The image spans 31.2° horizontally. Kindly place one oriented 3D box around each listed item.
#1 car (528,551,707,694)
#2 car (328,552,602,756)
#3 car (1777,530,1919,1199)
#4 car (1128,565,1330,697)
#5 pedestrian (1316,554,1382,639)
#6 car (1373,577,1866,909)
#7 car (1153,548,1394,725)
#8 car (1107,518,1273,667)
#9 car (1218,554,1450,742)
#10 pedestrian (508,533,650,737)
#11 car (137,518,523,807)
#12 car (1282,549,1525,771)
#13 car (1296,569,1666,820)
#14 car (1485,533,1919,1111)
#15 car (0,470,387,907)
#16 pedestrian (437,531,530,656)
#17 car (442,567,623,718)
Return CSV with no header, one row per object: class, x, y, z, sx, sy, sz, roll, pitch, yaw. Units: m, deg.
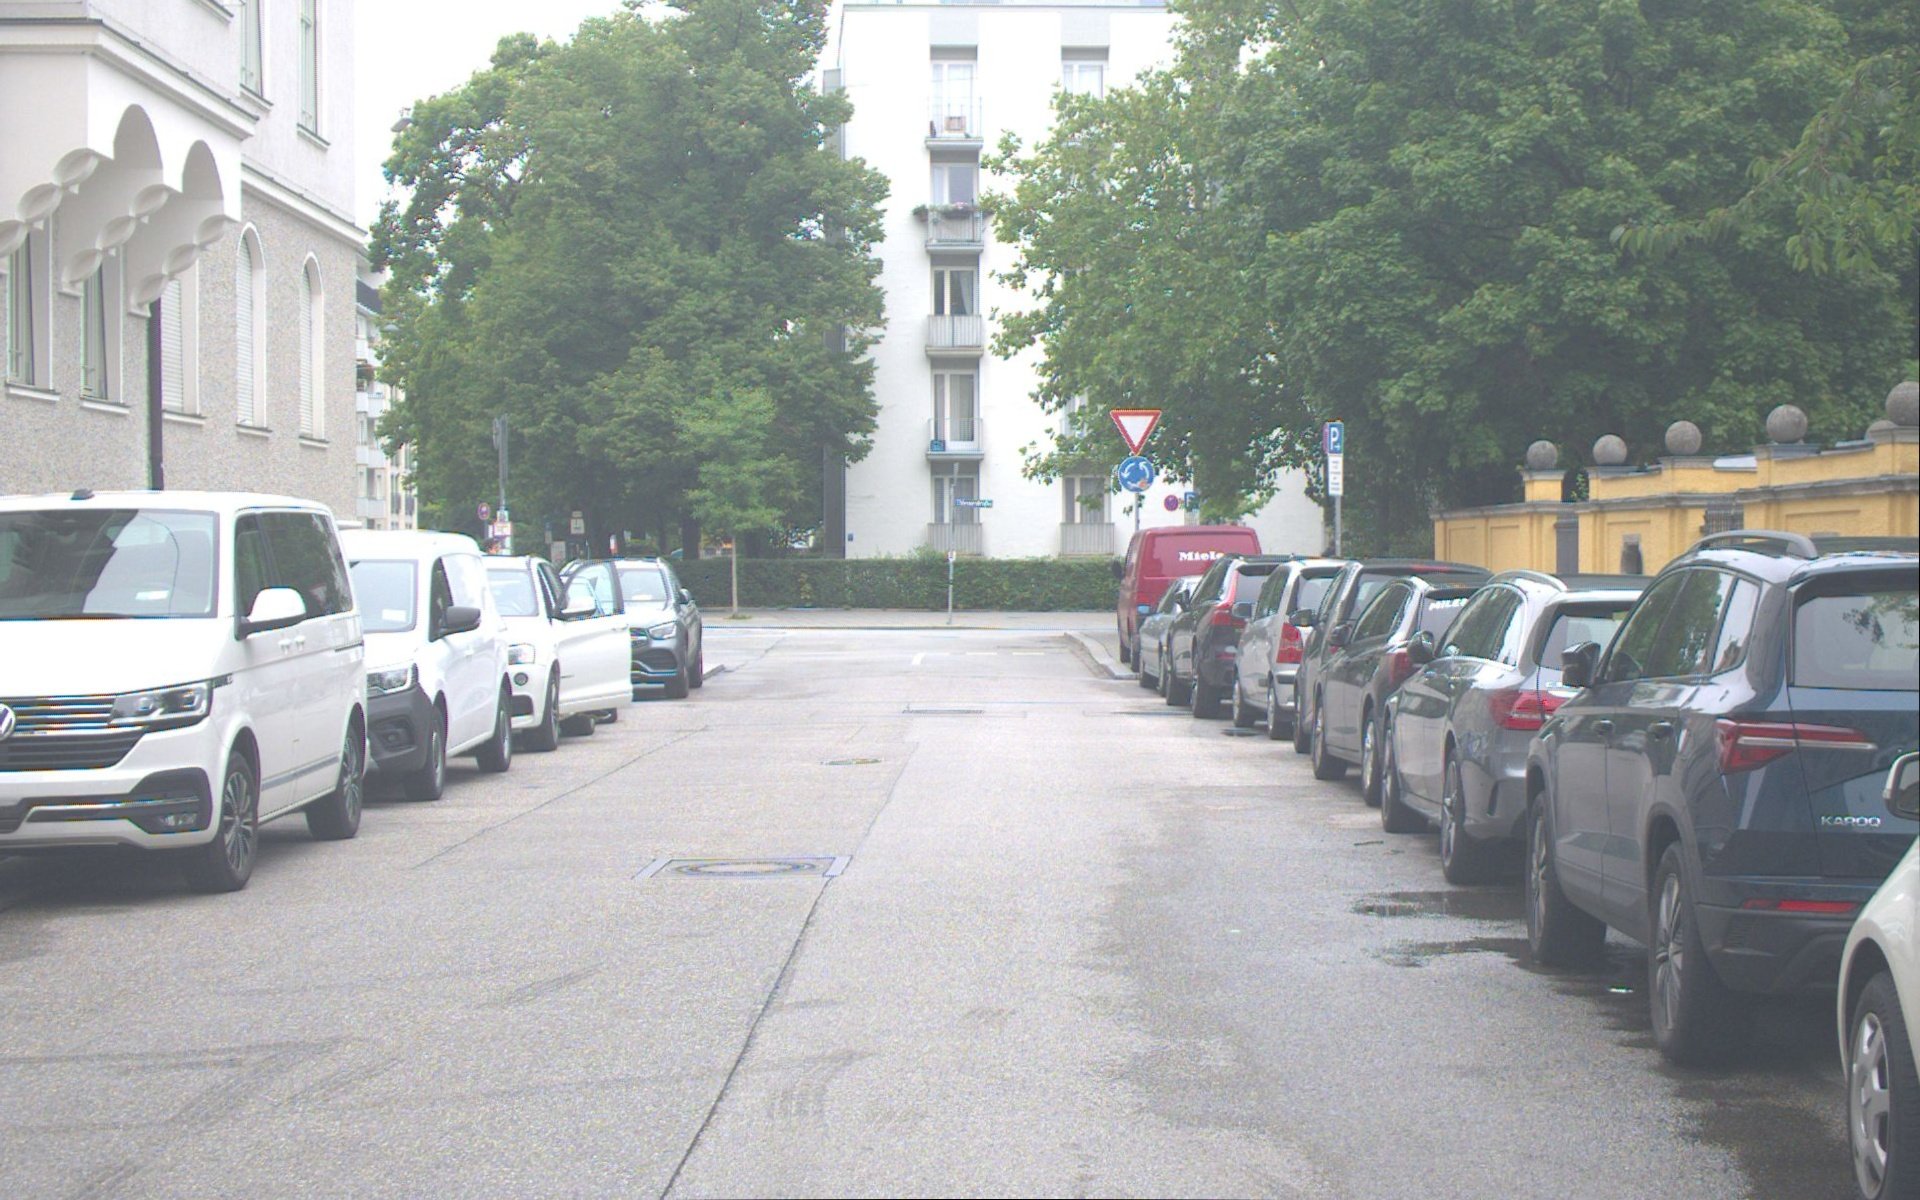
car,-4.088,0.231,41.615,1.746,1.597,4.497,-1,1,-1
car,-4.195,0.400,29.759,1.746,1.597,4.497,-1,1,-1
car,2.869,0.644,6.401,1.713,1.565,4.320,0,1,1
car,3.216,0.335,41.871,1.884,1.443,4.369,2,1,-3
pedestrian,6.175,-0.058,54.615,1.010,1.333,0.876,0,1,4
car,3.135,0.608,17.192,1.692,1.410,4.516,0,1,1
car,3.176,0.319,35.772,1.884,1.647,4.824,2,1,-2
car,3.126,-0.130,47.600,1.874,1.914,4.888,1,1,-1
car,3.298,0.378,30.889,1.484,1.534,3.693,2,1,-2
pedestrian,-3.338,0.289,30.070,0.961,1.750,0.877,0,1,-30
car,-4.274,0.359,24.100,1.746,1.782,5.037,-1,1,0
car,3.362,0.422,26.457,1.508,1.560,2.869,2,1,1
car,3.278,0.541,22.346,1.692,1.410,4.037,2,1,-1
car,2.970,0.569,11.653,1.713,1.565,4.691,0,1,1
car,-4.323,0.372,17.785,1.856,1.931,4.957,-1,1,0
pedestrian,-6.804,-0.099,49.122,1.048,1.765,0.876,0,1,-32
car,-4.327,0.389,34.810,1.691,1.410,3.664,-1,1,-7
